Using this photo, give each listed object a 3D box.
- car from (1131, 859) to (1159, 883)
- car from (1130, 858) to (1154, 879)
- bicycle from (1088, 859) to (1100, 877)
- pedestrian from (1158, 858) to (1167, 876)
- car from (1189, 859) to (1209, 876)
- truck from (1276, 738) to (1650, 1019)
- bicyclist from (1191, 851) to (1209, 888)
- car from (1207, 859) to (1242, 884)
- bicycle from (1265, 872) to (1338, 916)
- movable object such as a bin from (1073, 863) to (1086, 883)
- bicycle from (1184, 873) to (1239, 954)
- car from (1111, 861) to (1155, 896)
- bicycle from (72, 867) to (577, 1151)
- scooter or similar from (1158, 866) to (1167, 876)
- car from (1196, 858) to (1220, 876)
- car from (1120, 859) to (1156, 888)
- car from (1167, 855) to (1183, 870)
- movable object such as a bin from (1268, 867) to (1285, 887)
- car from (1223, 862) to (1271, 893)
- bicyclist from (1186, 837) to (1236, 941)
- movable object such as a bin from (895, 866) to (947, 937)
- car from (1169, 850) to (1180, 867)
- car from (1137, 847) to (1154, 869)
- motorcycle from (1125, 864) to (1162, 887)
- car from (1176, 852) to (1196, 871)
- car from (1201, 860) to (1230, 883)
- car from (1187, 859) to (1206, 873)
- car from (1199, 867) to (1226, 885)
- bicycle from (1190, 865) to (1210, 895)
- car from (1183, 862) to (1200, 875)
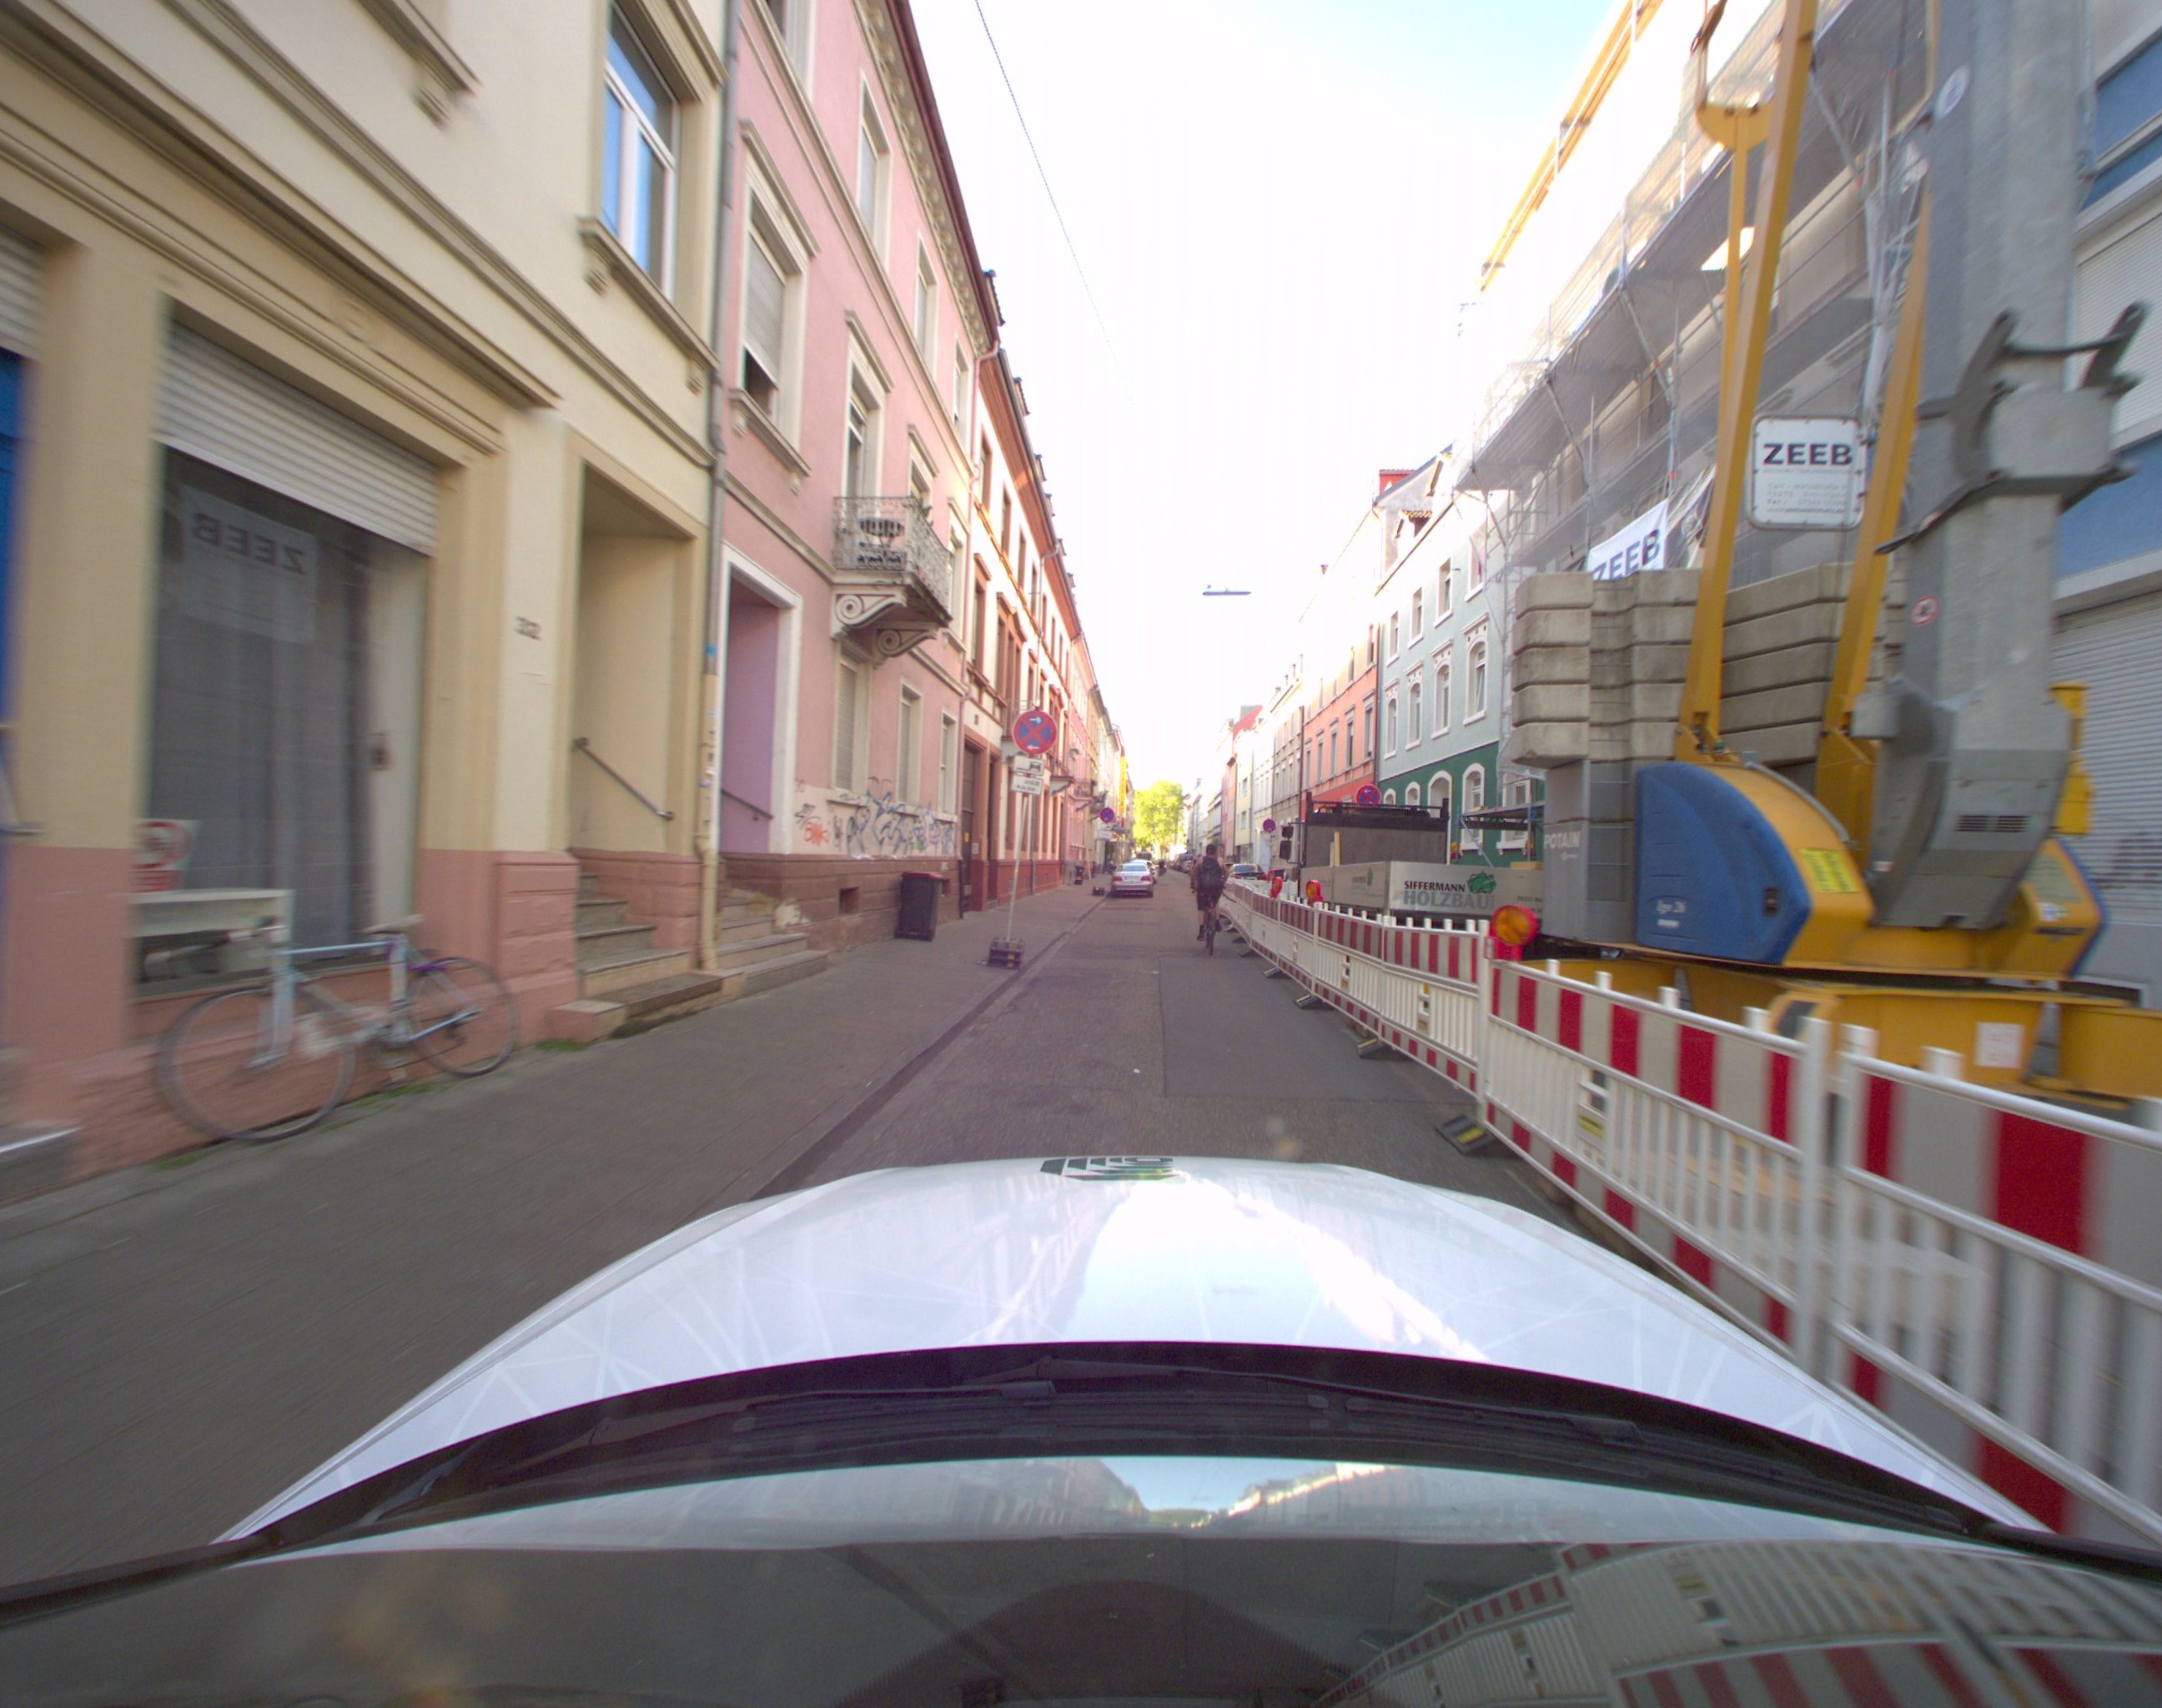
[{"bbox_3d":[4.048,1.043,51.454,1.664,1.442,4.170,0,-1,5],"label":"car"},{"bbox_3d":[4.293,1.022,57.241,1.664,1.442,3.772,0,-1,5],"label":"car"},{"bbox_3d":[0.872,0.903,53.141,0.590,1.089,2.082,4,-1,5],"label":"bicycle"},{"bbox_3d":[7.586,1.197,75.722,0.767,1.578,0.901,4,-1,3],"label":"pedestrian"},{"bbox_3d":[11.147,1.309,77.273,1.613,1.550,4.005,0,-1,5],"label":"car"},{"bbox_3d":[4.919,0.289,12.337,2.649,2.814,7.403,4,-1,5],"label":"truck"},{"bbox_3d":[5.209,0.670,35.626,0.699,1.605,0.814,1,0,4],"label":"bicyclist"},{"bbox_3d":[9.014,1.097,51.434,1.808,1.521,4.005,0,-1,5],"label":"car"},{"bbox_3d":[6.211,1.129,22.970,1.845,1.110,0.643,4,-1,-3],"label":"bicycle"},{"bbox_3d":[-0.062,0.919,40.121,0.541,0.945,0.488,4,-1,5],"label":"movable object such as a bin"},{"bbox_3d":[2.151,0.937,13.657,0.698,1.208,2.345,2,-1,5],"label":"bicycle"},{"bbox_3d":[2.224,0.993,34.197,1.702,1.383,4.511,0,-1,5],"label":"car"},{"bbox_3d":[-3.461,0.603,4.022,0.619,1.022,1.821,4,0,5],"label":"bicycle"},{"bbox_3d":[7.543,1.538,75.319,0.767,0.873,0.771,4,-1,3],"label":"scooter or similar"},{"bbox_3d":[10.529,1.077,67.758,1.702,1.383,4.005,0,-1,5],"label":"car"},{"bbox_3d":[3.174,1.007,44.735,1.701,1.383,4.364,2,1,7],"label":"car"},{"bbox_3d":[15.585,1.436,135.106,2.297,2.538,6.778,0,-1,5],"label":"car"},{"bbox_3d":[10.675,1.268,44.488,0.734,1.075,0.677,0,-1,-2],"label":"movable object such as a bin"},{"bbox_3d":[8.290,1.155,40.938,1.808,1.438,4.796,0,-1,5],"label":"car"},{"bbox_3d":[2.148,0.567,13.570,0.698,1.633,1.091,2,-1,5],"label":"bicyclist"},{"bbox_3d":[-2.483,0.726,12.690,0.603,1.035,0.597,4,-1,3],"label":"movable object such as a bin"},{"bbox_3d":[20.870,0.967,182.300,2.297,3.768,6.778,0,-1,5],"label":"car"},{"bbox_3d":[7.801,0.468,98.757,1.902,2.497,4.168,2,0,3],"label":"car"},{"bbox_3d":[3.745,1.271,48.663,2.149,1.359,0.538,0,0,-14],"label":"motorcycle"},{"bbox_3d":[14.125,1.034,109.658,2.297,2.538,6.778,0,-1,5],"label":"car"},{"bbox_3d":[9.395,1.224,57.059,1.702,1.556,4.005,0,-1,5],"label":"car"},{"bbox_3d":[11.646,1.182,82.404,1.702,1.393,4.005,0,-1,5],"label":"car"},{"bbox_3d":[10.026,1.658,62.219,1.702,1.383,4.005,0,-1,5],"label":"car"},{"bbox_3d":[5.215,1.119,35.796,0.699,1.208,2.345,1,1,4],"label":"bicycle"},{"bbox_3d":[12.727,1.696,94.066,1.702,1.447,4.005,0,-1,5],"label":"car"}]
